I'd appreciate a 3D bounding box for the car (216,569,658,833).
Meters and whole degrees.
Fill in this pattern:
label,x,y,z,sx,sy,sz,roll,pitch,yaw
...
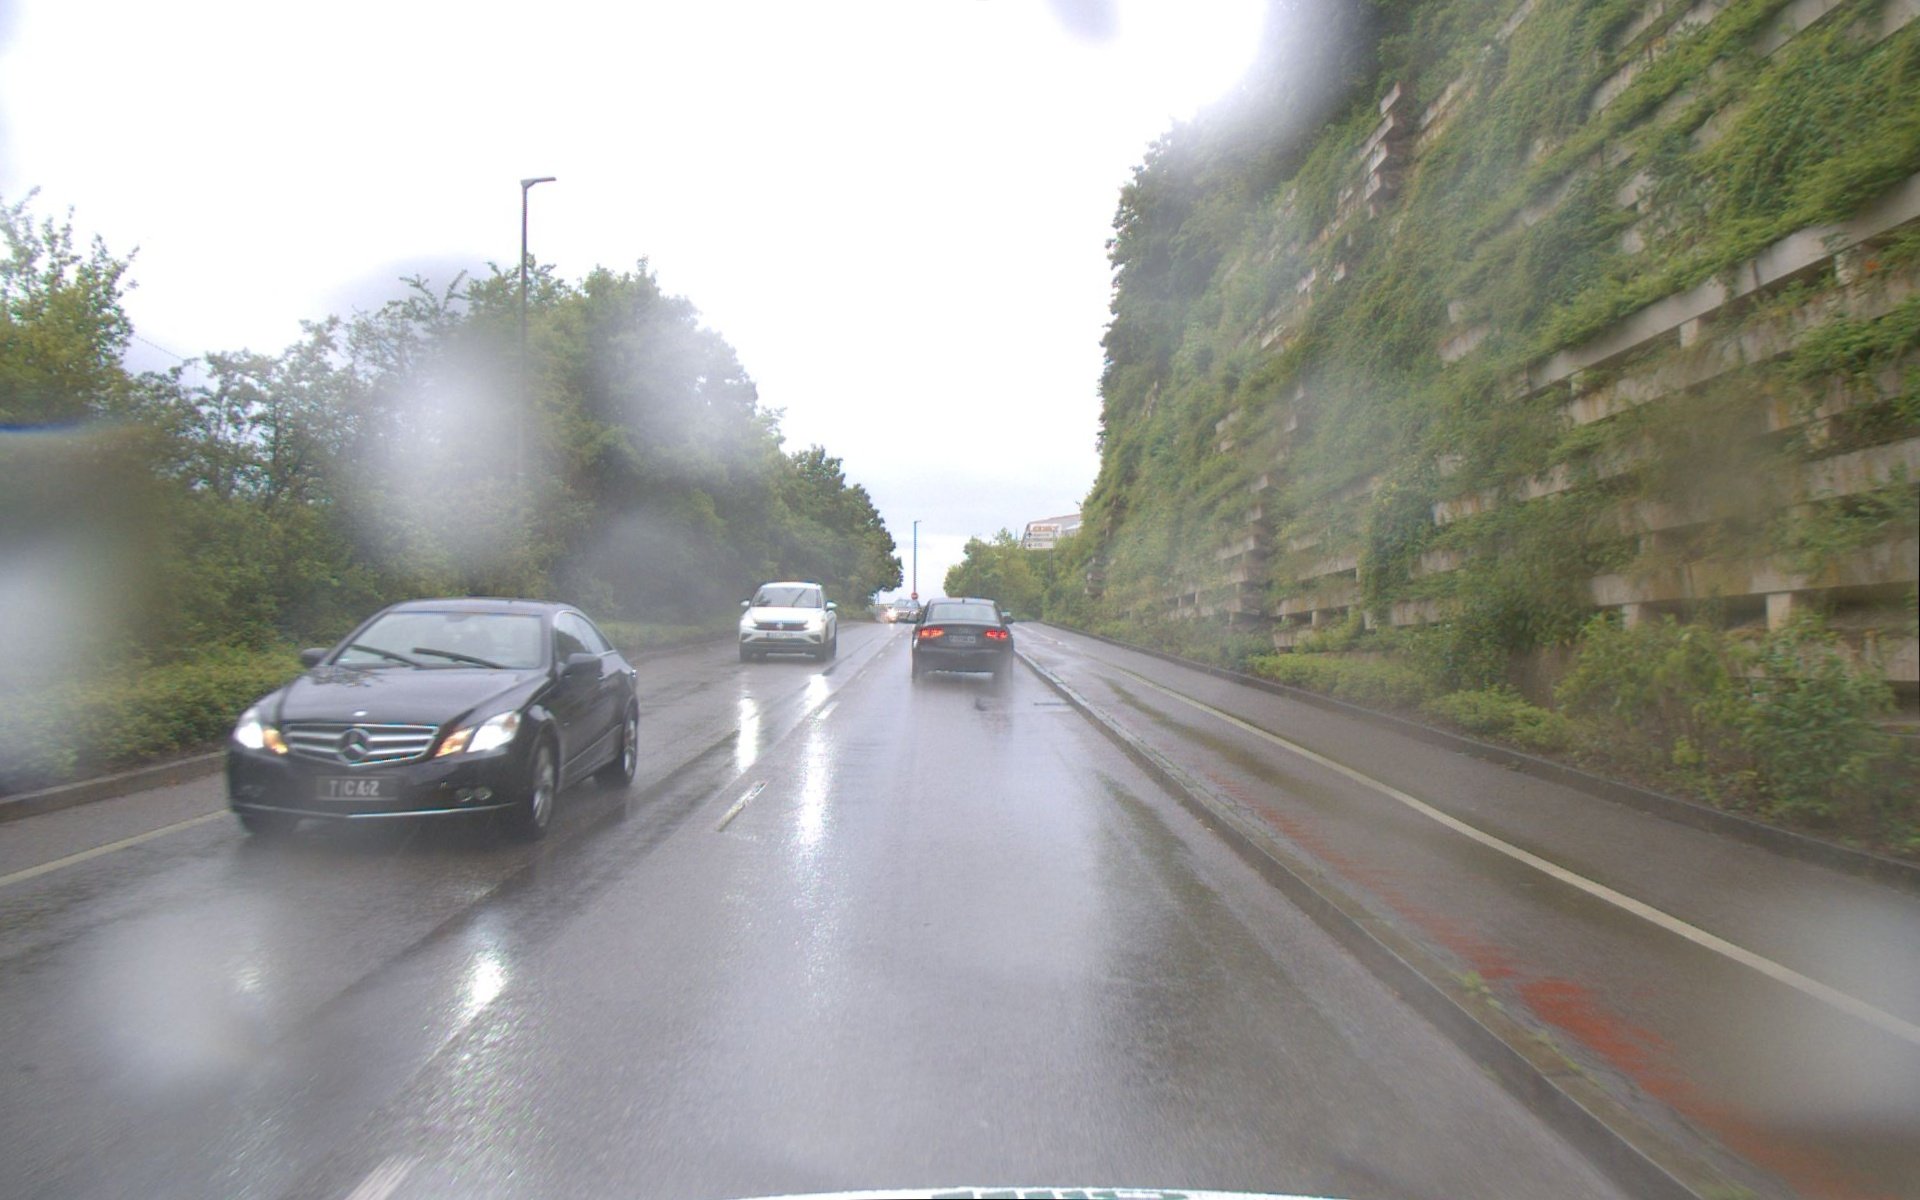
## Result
label,x,y,z,sx,sy,sz,roll,pitch,yaw
car,-3.335,0.547,11.490,1.827,1.474,4.375,0,0,-2

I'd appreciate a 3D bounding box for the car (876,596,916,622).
label,x,y,z,sx,sy,sz,roll,pitch,yaw
car,-3.719,0.511,97.010,1.952,1.388,4.253,1,0,2

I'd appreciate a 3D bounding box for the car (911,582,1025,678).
label,x,y,z,sx,sy,sz,roll,pitch,yaw
car,0.183,0.468,29.261,1.853,1.518,4.208,-1,1,1

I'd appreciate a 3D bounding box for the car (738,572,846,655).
label,x,y,z,sx,sy,sz,roll,pitch,yaw
car,-3.552,0.266,35.619,1.785,1.643,4.094,1,0,1
